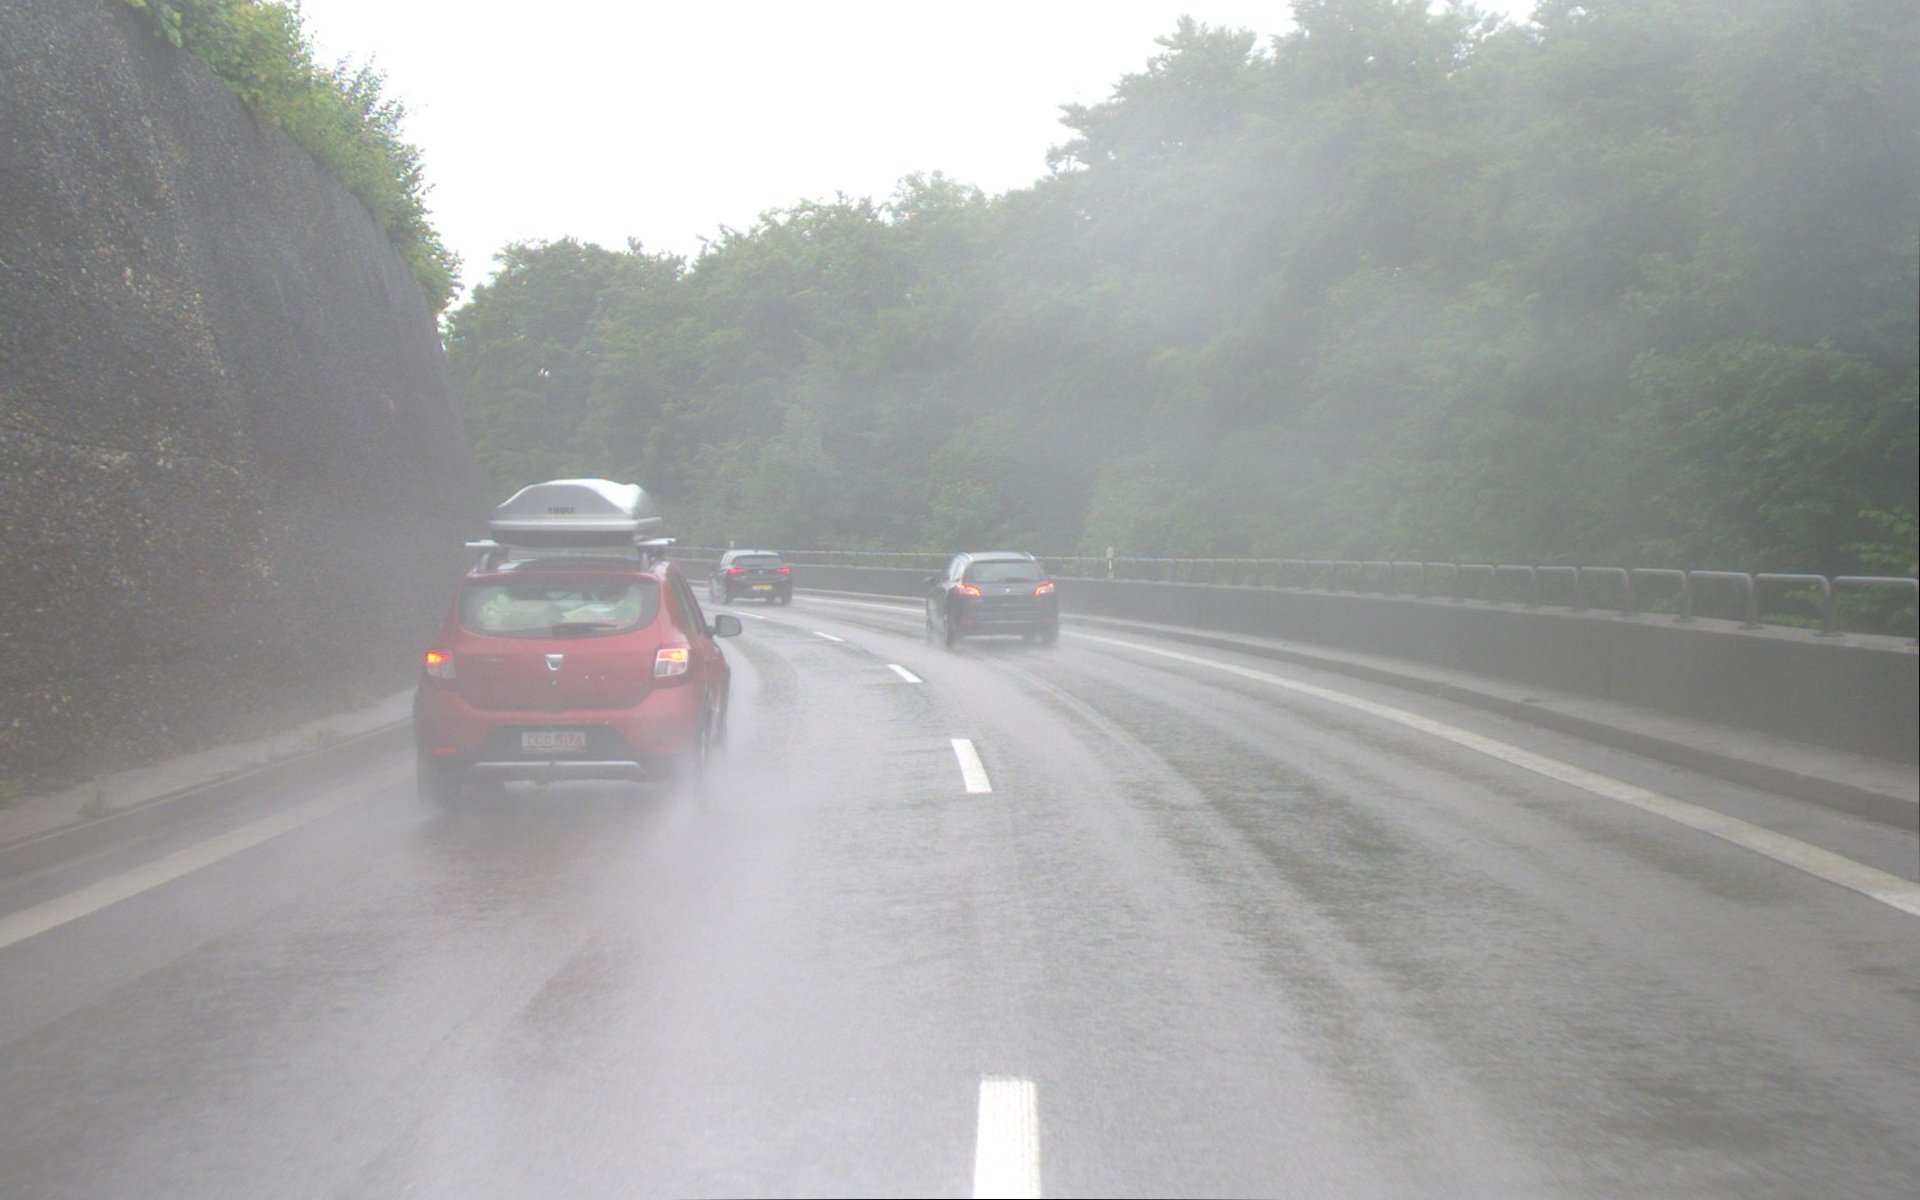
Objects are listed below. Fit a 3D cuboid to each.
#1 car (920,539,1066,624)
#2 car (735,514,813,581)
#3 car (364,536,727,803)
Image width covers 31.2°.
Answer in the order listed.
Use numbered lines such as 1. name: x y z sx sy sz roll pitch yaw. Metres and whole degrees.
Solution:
1. car: 0.490 -0.316 54.816 1.800 1.303 4.001 0 1 -7
2. car: -4.963 -1.379 91.478 1.993 1.744 4.001 0 0 -4
3. car: -2.549 0.376 22.047 1.993 1.546 4.000 0 1 -2
